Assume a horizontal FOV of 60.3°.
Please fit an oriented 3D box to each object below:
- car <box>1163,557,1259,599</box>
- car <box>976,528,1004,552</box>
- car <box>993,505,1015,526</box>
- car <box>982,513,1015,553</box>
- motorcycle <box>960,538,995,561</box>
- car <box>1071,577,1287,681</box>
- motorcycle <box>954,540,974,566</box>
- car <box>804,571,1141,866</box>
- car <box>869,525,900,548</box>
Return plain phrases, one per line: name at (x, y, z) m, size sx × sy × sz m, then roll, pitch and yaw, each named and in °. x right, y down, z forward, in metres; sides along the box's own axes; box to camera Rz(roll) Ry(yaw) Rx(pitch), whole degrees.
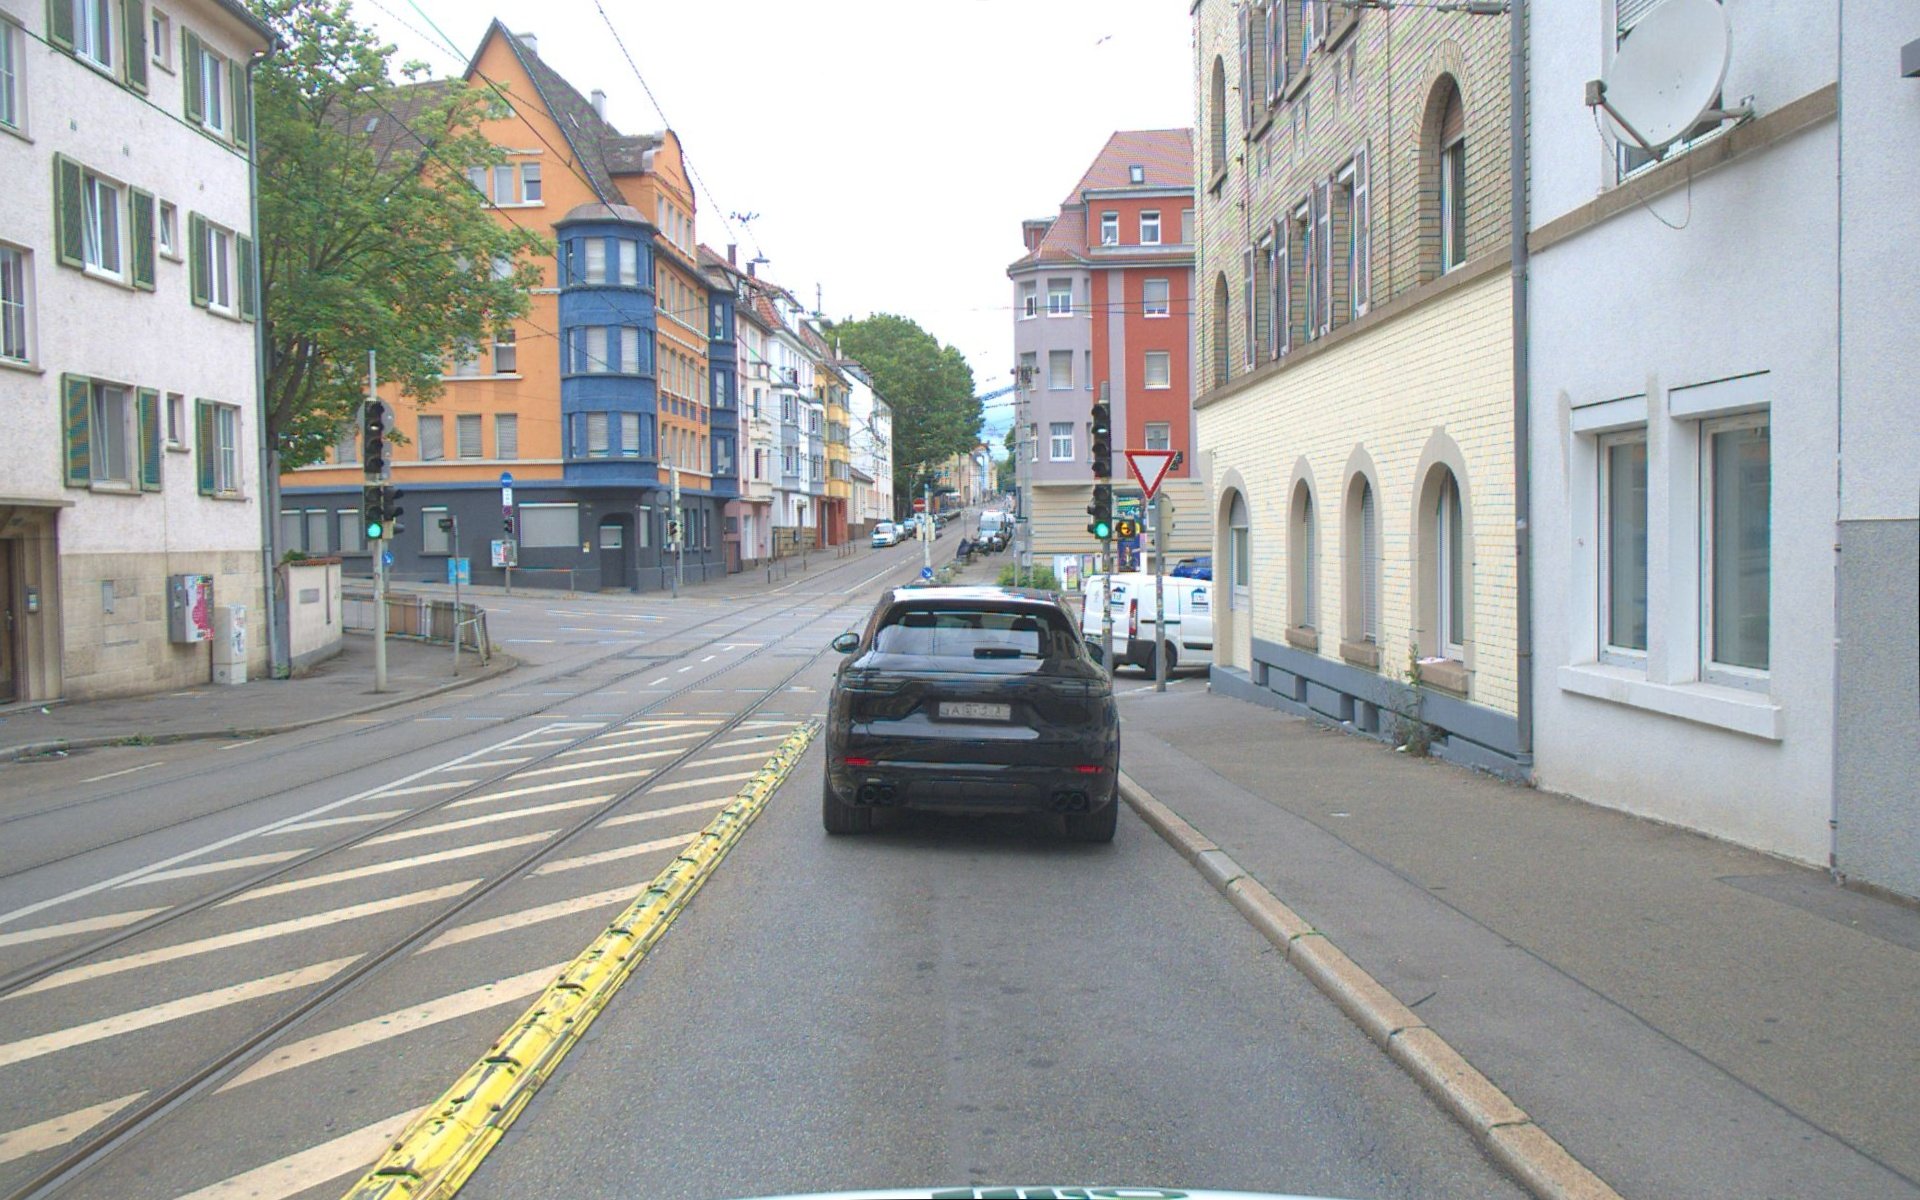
car at (10.629, -0.969, 69.916) m, size 4.107 × 1.561 × 1.889 m, roll -3°, pitch 6°, yaw -43°
car at (2.171, -4.334, 119.483) m, size 1.802 × 1.595 × 3.822 m, roll 2°, pitch 3°, yaw 4°
car at (4.995, -9.485, 186.041) m, size 2.220 × 2.221 × 4.773 m, roll 2°, pitch 3°, yaw 4°
car at (2.955, -5.082, 125.167) m, size 2.220 × 2.940 × 4.773 m, roll 2°, pitch 3°, yaw 4°
motorcycle at (1.122, -3.251, 106.242) m, size 2.135 × 1.349 × 0.699 m, roll 2°, pitch 2°, yaw -7°
car at (4.450, 0.517, 33.349) m, size 4.239 × 1.916 × 1.847 m, roll -1°, pitch 3°, yaw -37°
motorcycle at (0.222, -2.718, 95.708) m, size 0.843 × 1.349 × 2.182 m, roll -5°, pitch 3°, yaw -6°
car at (0.273, 0.669, 12.169) m, size 1.981 × 1.670 × 4.359 m, roll 3°, pitch 1°, yaw 5°
car at (-5.951, -5.031, 131.210) m, size 1.952 × 1.721 × 4.003 m, roll 2°, pitch 3°, yaw 4°
